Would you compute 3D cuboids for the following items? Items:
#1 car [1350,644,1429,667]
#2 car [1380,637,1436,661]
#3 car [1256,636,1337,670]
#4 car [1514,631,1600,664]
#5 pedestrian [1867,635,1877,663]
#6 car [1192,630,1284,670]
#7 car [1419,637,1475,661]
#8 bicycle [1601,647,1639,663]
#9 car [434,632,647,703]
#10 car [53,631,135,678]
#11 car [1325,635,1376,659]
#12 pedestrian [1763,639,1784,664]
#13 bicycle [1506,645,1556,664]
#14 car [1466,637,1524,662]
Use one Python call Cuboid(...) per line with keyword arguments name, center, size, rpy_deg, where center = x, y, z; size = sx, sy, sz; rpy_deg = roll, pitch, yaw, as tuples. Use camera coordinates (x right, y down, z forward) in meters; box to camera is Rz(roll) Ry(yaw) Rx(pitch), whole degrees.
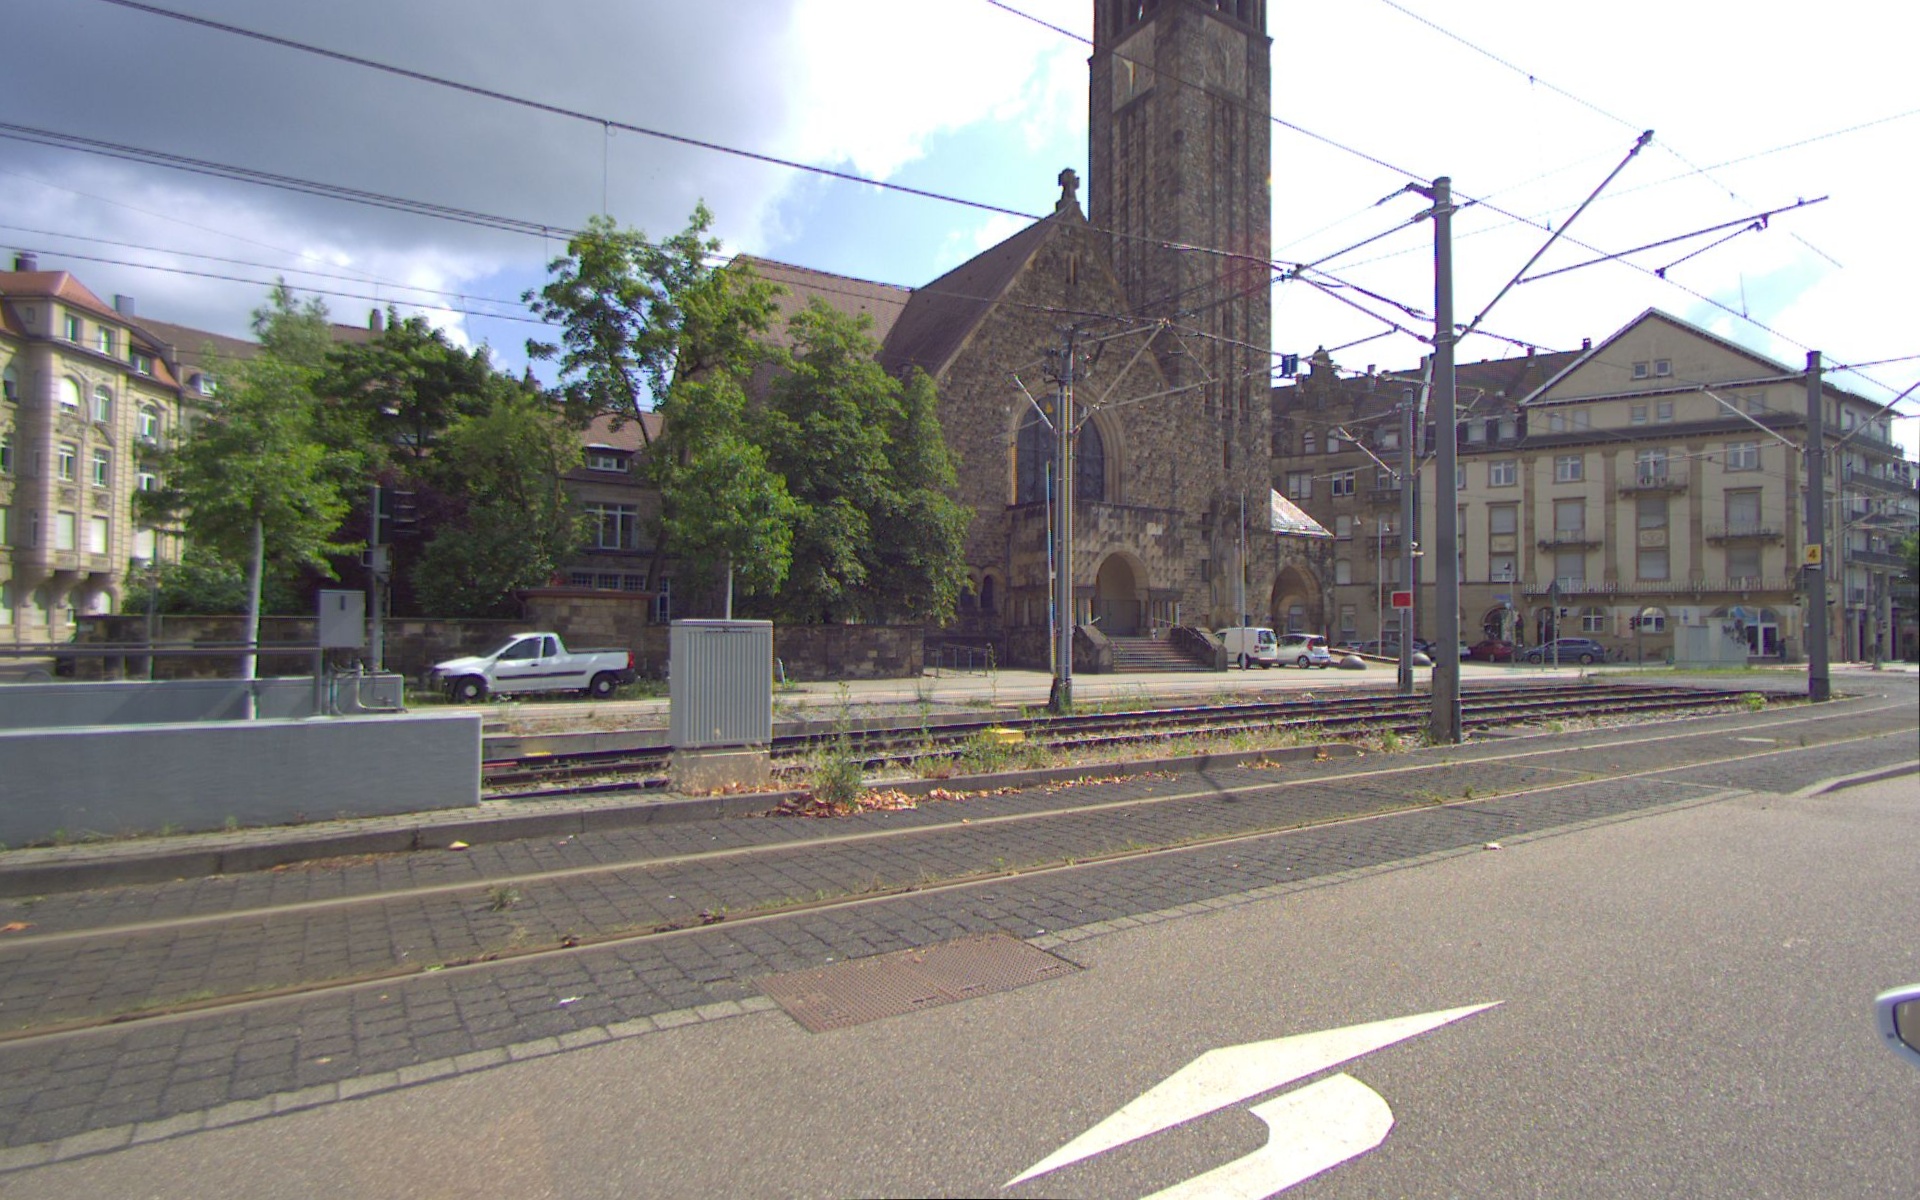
Cuboid(name="car", center=(27.961, 3.601, 65.499), size=(4.494, 1.455, 1.702), rpy_deg=(-1, -2, 34))
Cuboid(name="car", center=(33.010, 3.580, 74.149), size=(1.963, 1.695, 3.996), rpy_deg=(1, -2, -8))
Cuboid(name="car", center=(15.996, 2.499, 47.834), size=(1.835, 1.522, 3.245), rpy_deg=(1, -2, -34))
Cuboid(name="car", center=(38.902, 3.073, 65.529), size=(4.723, 2.040, 1.995), rpy_deg=(-1, -2, 32))
Cuboid(name="pedestrian", center=(65.614, 3.533, 72.256), size=(0.416, 2.040, 0.473), rpy_deg=(2, -2, -38))
Cuboid(name="car", center=(12.883, 2.285, 46.701), size=(1.876, 1.771, 3.845), rpy_deg=(2, -2, -35))
Cuboid(name="car", center=(35.353, 3.562, 73.065), size=(1.769, 1.661, 3.996), rpy_deg=(1, -2, -8))
Cuboid(name="bicycle", center=(44.699, 3.693, 68.045), size=(2.528, 1.067, 0.802), rpy_deg=(1, -2, -21))
Cuboid(name="car", center=(-9.881, 1.538, 23.772), size=(4.370, 1.524, 1.919), rpy_deg=(2, -2, -35))
Cuboid(name="car", center=(-33.406, 2.072, 38.864), size=(1.913, 1.692, 3.757), rpy_deg=(1, -2, -34))
Cuboid(name="car", center=(29.661, 3.586, 76.461), size=(1.963, 1.757, 3.996), rpy_deg=(1, -2, -8))
Cuboid(name="pedestrian", center=(53.015, 3.376, 65.446), size=(0.845, 1.617, 0.694), rpy_deg=(0, -2, 19))
Cuboid(name="bicycle", center=(39.763, 3.769, 69.986), size=(0.982, 1.270, 3.310), rpy_deg=(1, -2, -16))
Cuboid(name="car", center=(37.812, 3.501, 71.127), size=(1.960, 1.696, 4.001), rpy_deg=(0, -2, 0))
